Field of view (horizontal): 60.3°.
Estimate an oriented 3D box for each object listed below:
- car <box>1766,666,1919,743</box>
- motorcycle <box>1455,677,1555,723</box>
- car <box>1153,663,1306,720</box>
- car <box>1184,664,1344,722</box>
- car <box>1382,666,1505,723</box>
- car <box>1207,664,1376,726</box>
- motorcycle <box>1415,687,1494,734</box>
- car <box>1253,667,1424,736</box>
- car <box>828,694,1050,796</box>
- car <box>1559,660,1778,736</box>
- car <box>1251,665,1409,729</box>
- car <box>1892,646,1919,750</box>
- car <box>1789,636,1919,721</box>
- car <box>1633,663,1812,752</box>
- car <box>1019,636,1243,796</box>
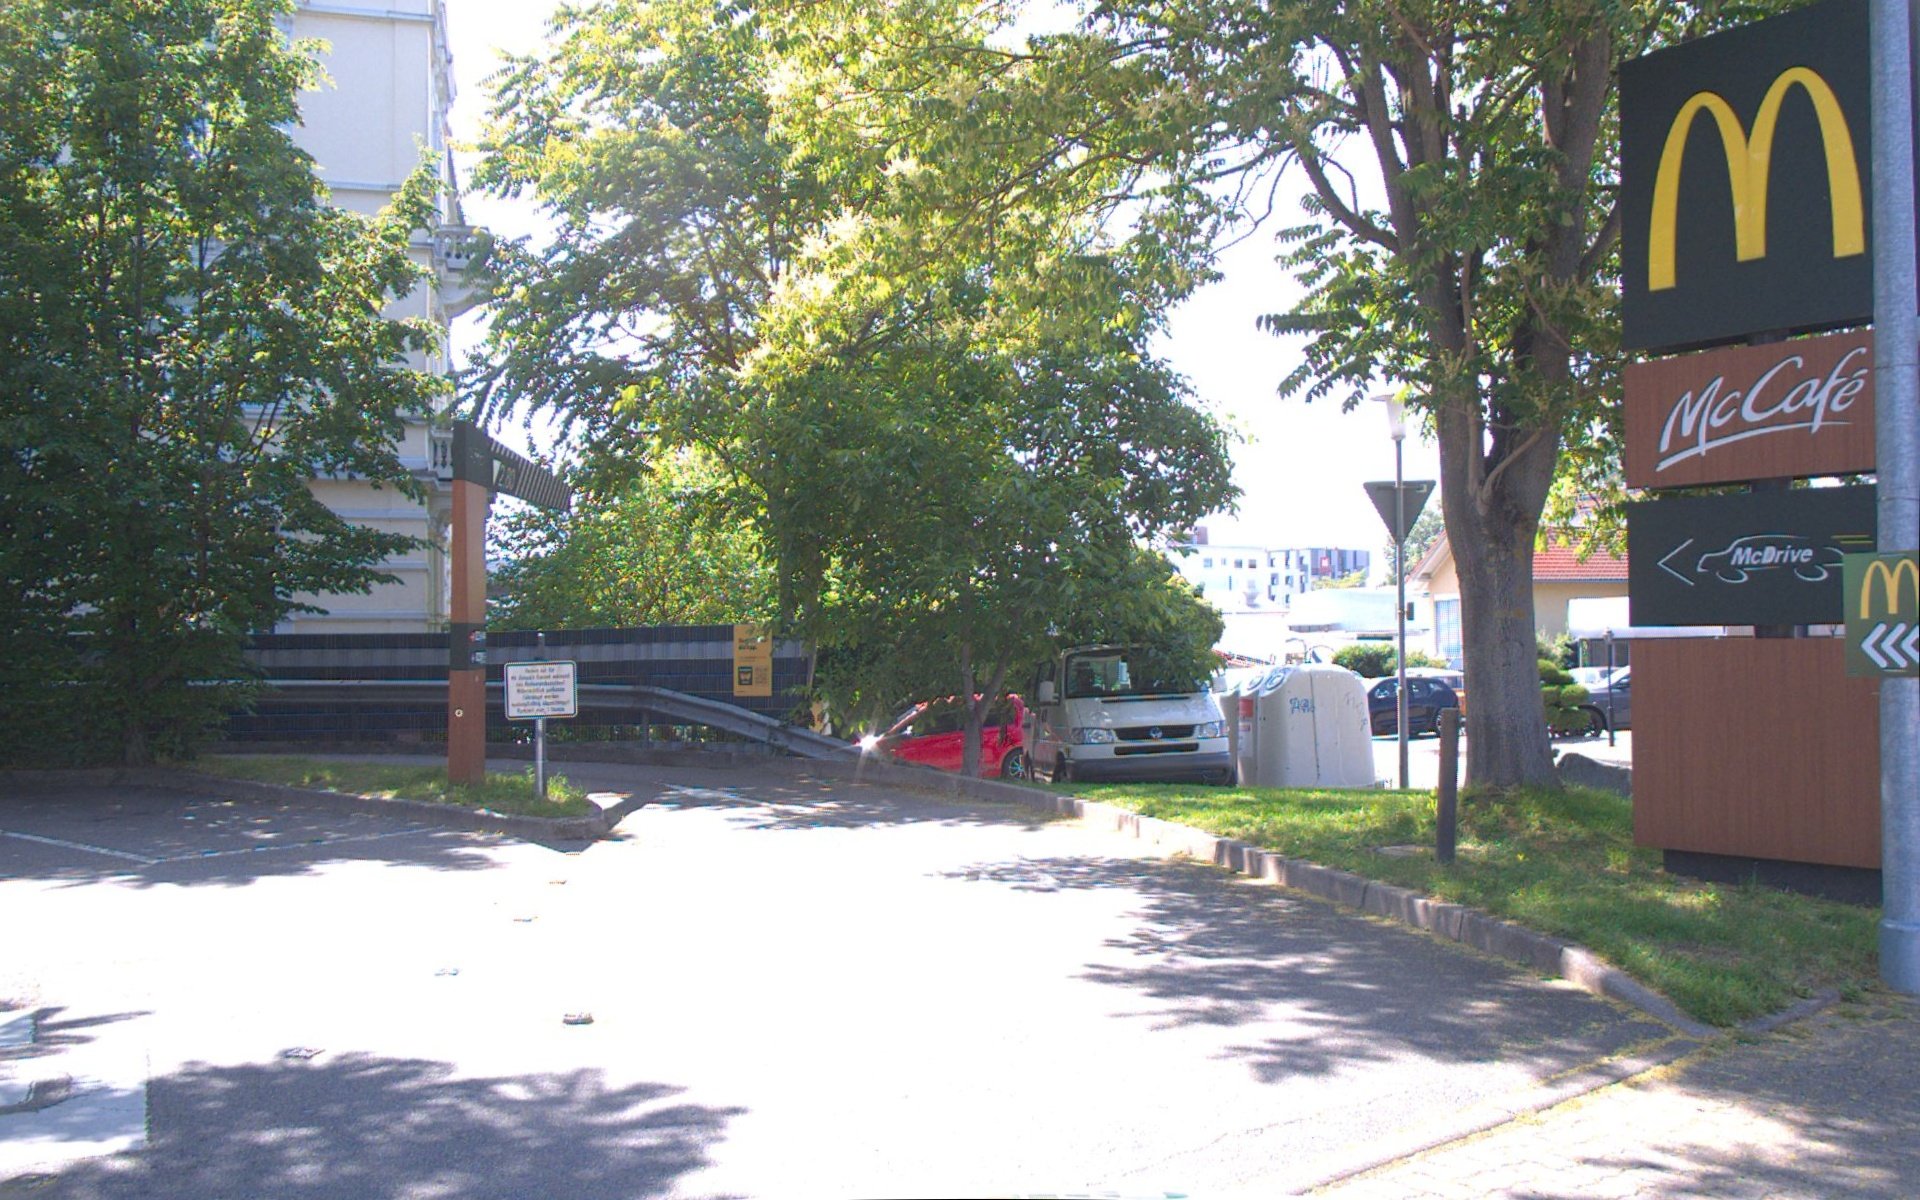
[{"bbox_3d":[18.863,2.176,34.769,3.953,1.513,1.772,2,-3,-35],"label":"car"},{"bbox_3d":[15.206,2.775,46.148,2.671,1.248,0.993,1,-2,-22],"label":"motorcycle"},{"bbox_3d":[8.779,2.981,53.936,4.572,1.756,1.987,2,-3,-21],"label":"car"},{"bbox_3d":[9.490,2.904,51.629,4.572,1.756,1.987,2,-3,-21],"label":"car"},{"bbox_3d":[14.546,2.837,50.009,1.958,1.613,3.988,1,-2,-11],"label":"car"},{"bbox_3d":[9.814,2.809,48.968,4.572,1.756,1.987,2,-3,-21],"label":"car"},{"bbox_3d":[12.980,2.900,43.416,1.831,1.179,0.789,1,-2,-2],"label":"motorcycle"},{"bbox_3d":[9.920,2.656,43.443,3.919,1.736,1.992,1,-2,-14],"label":"car"},{"bbox_3d":[-0.369,2.295,26.570,3.344,1.403,1.482,-1,0,-12],"label":"car"},{"bbox_3d":[16.040,2.202,37.675,4.228,1.613,2.001,0,-2,10],"label":"car"},{"bbox_3d":[10.448,2.735,46.741,3.930,1.756,1.987,2,-3,-21],"label":"car"},{"bbox_3d":[16.728,1.602,27.222,2.006,1.623,4.420,0,-2,24],"label":"car"},{"bbox_3d":[23.090,1.992,42.288,4.458,2.049,1.969,3,-3,-43],"label":"car"},{"bbox_3d":[14.362,1.979,31.061,3.969,1.536,1.765,3,-3,-44],"label":"car"},{"bbox_3d":[1.845,1.239,19.402,1.912,1.611,5.028,1,-1,-2],"label":"car"}]
